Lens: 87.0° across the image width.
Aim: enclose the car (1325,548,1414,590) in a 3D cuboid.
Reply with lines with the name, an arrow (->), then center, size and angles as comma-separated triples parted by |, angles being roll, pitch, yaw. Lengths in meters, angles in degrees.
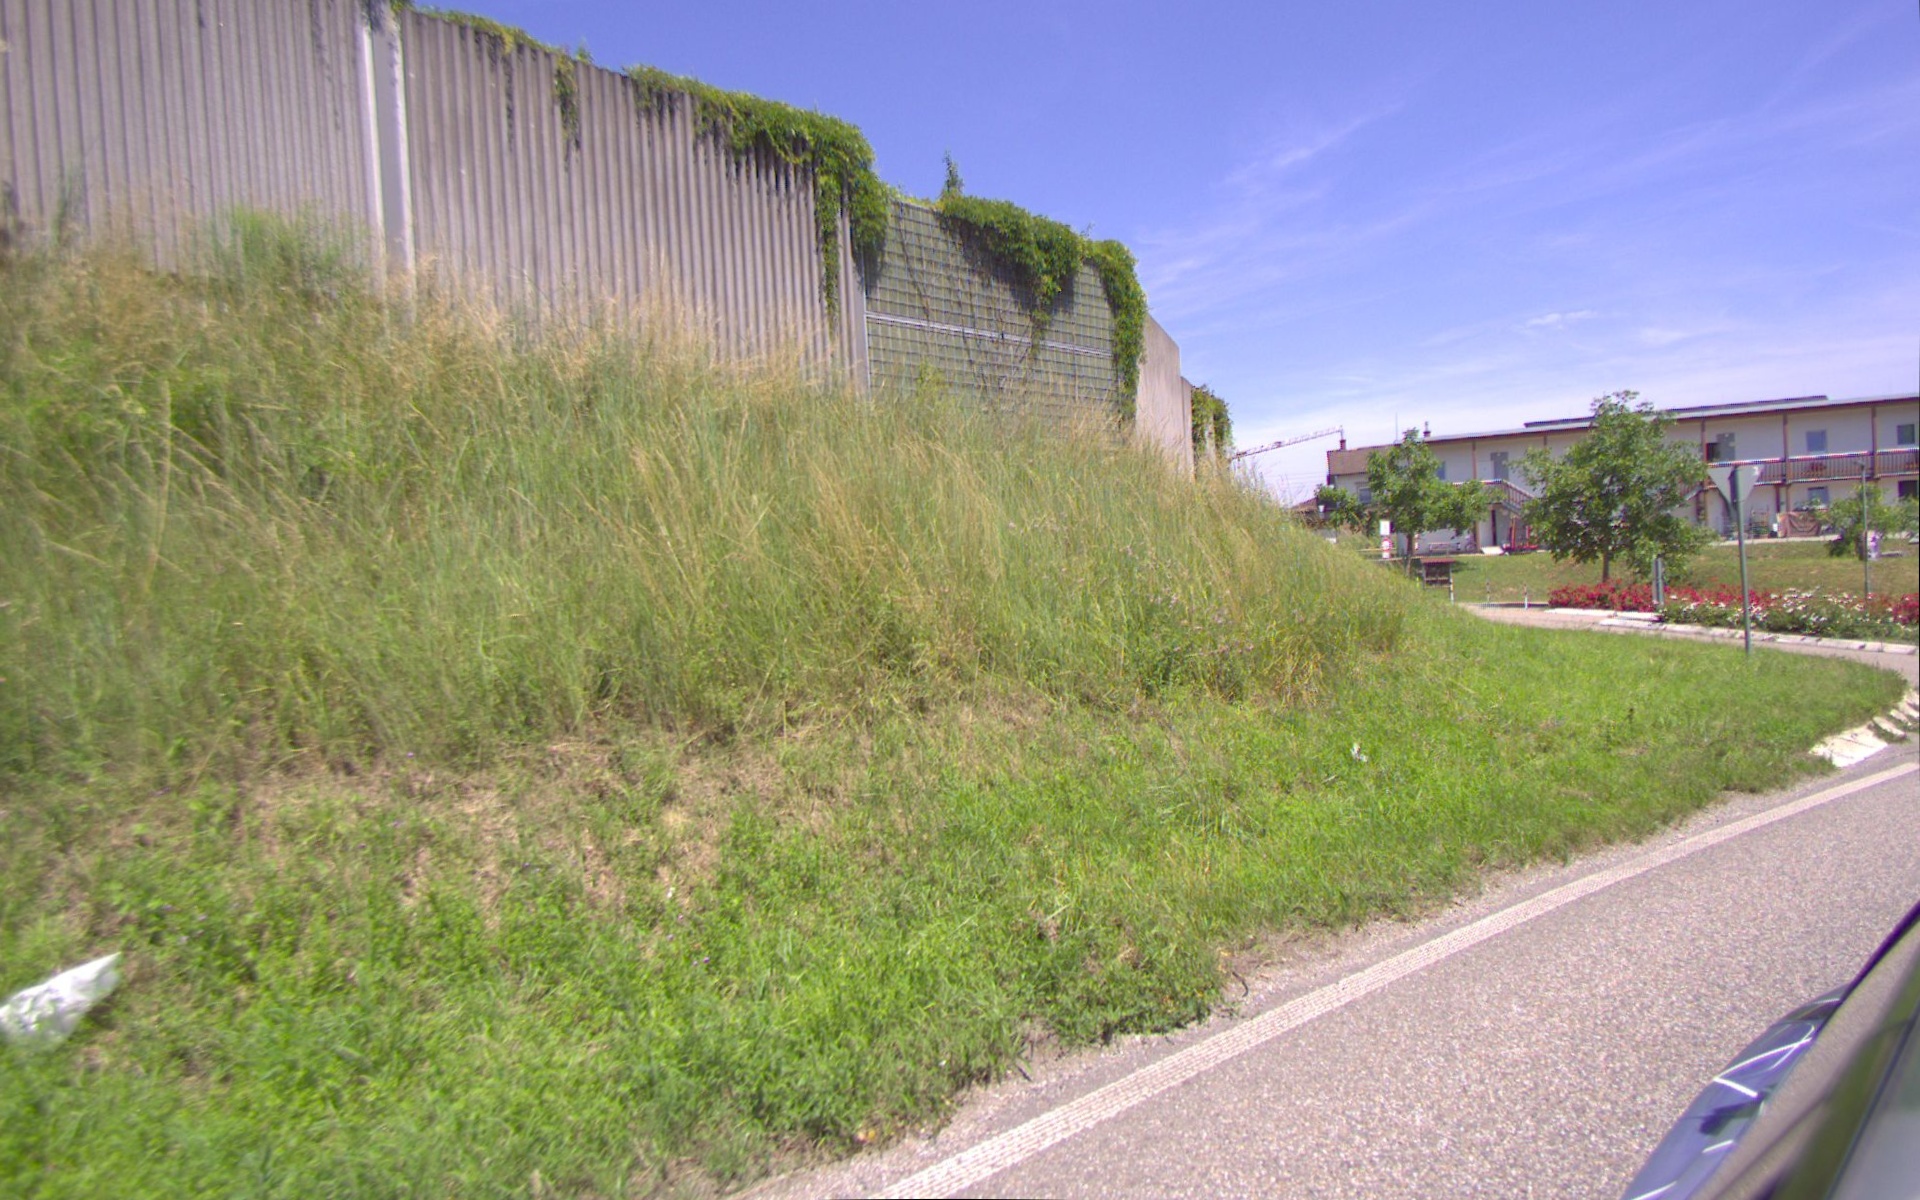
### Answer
car -> 19.102, -1.485, 47.171 | 3.923, 1.772, 1.873 | -4, 3, -32
